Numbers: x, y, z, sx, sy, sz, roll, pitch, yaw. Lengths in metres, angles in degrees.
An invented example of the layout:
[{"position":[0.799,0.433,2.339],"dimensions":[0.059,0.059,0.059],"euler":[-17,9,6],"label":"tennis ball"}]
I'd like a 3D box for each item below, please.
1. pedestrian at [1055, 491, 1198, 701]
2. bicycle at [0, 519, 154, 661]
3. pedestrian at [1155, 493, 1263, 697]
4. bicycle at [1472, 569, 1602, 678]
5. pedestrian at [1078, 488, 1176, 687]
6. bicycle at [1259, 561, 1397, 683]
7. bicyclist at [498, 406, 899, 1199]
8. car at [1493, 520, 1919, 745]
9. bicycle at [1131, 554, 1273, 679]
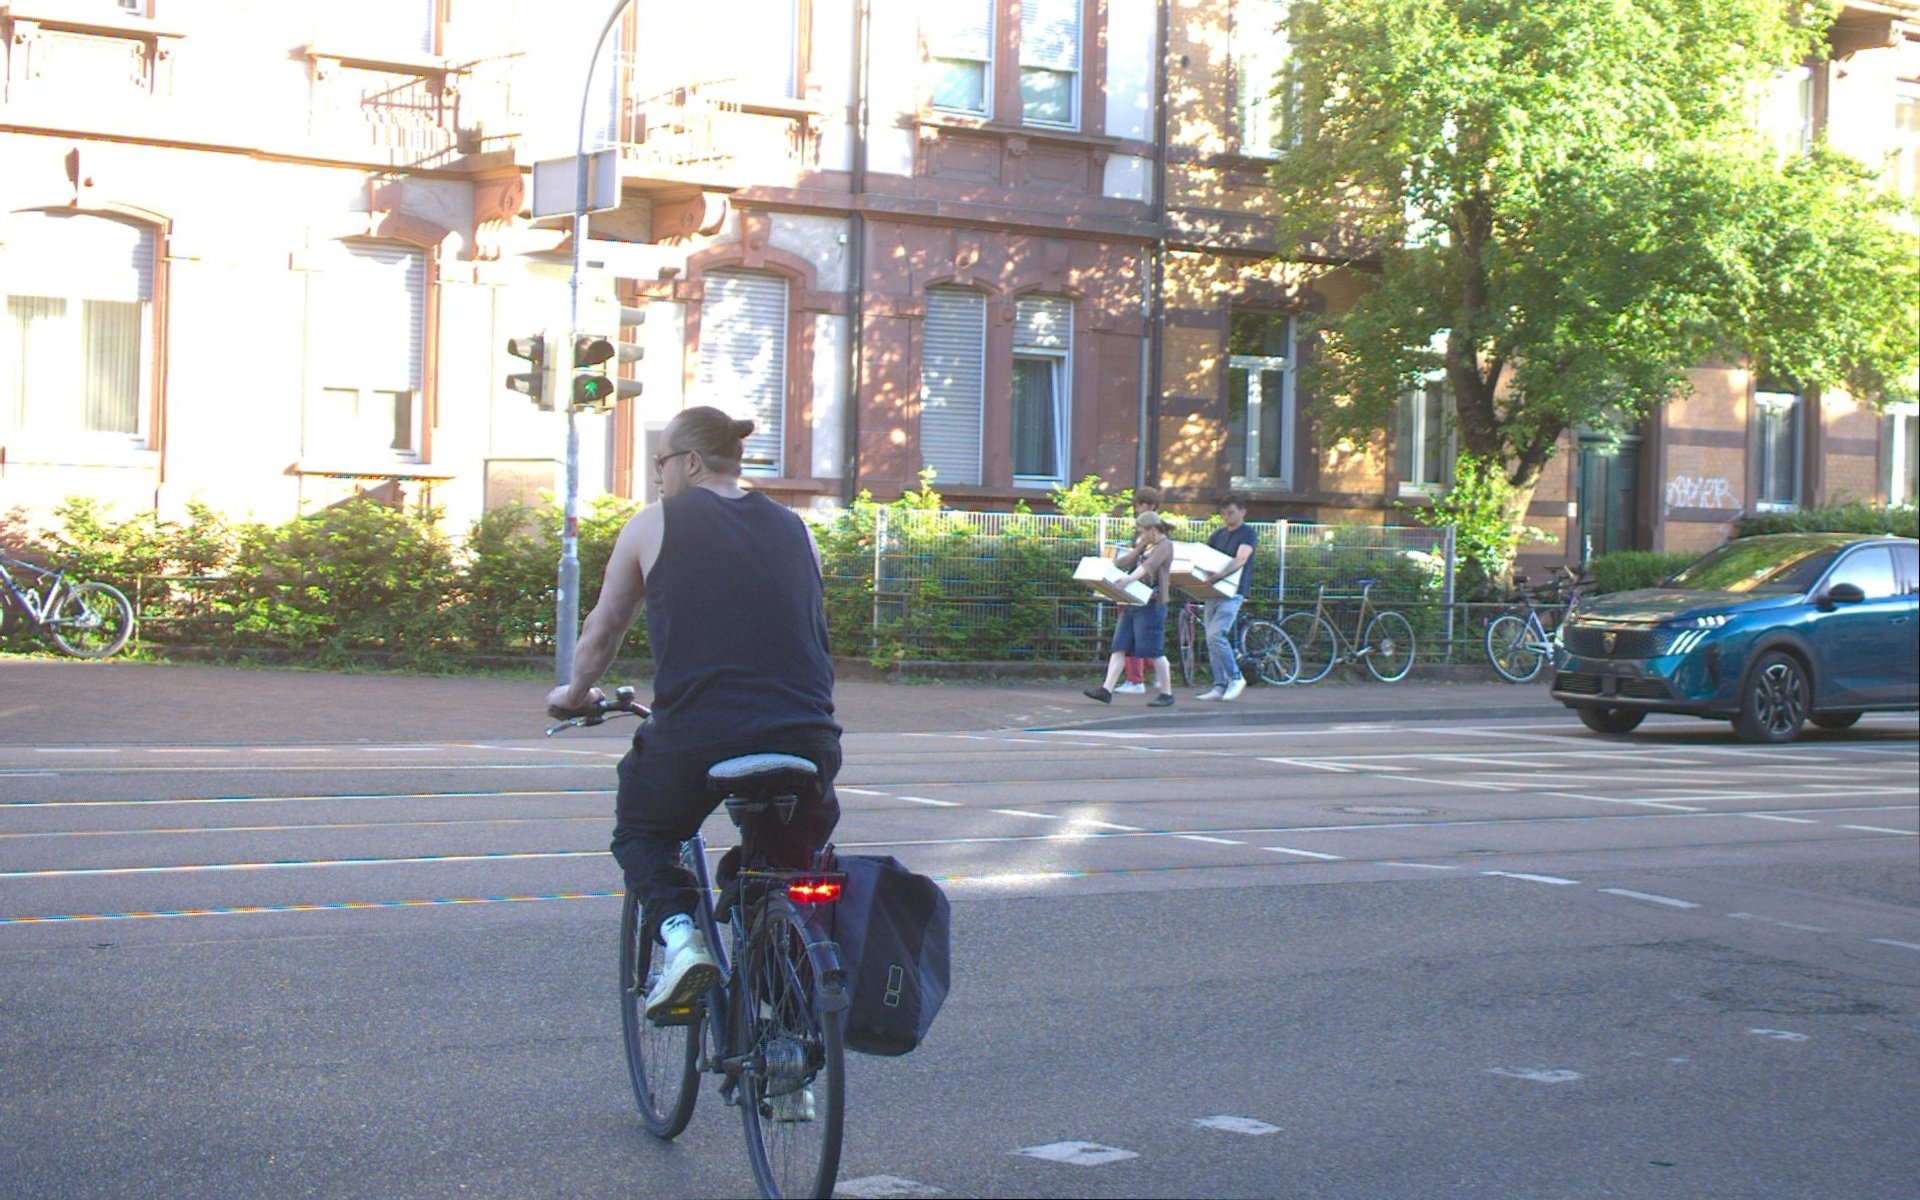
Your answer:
[{"position":[1.368,-0.040,28.320],"dimensions":[0.895,1.659,0.712],"euler":[1,4,-19],"label":"pedestrian"},{"position":[-7.782,-0.106,28.699],"dimensions":[1.960,1.103,0.443],"euler":[3,1,-3],"label":"bicycle"},{"position":[2.119,-0.043,29.337],"dimensions":[0.634,1.709,0.664],"euler":[1,1,-23],"label":"pedestrian"},{"position":[5.640,0.231,33.577],"dimensions":[1.229,1.035,0.443],"euler":[1,2,-32],"label":"bicycle"},{"position":[1.451,-0.110,29.936],"dimensions":[0.634,1.709,0.521],"euler":[1,1,-23],"label":"pedestrian"},{"position":[3.448,0.207,32.182],"dimensions":[1.229,1.103,0.443],"euler":[1,2,-31],"label":"bicycle"},{"position":[-0.607,0.417,7.691],"dimensions":[0.686,1.650,0.990],"euler":[0,1,-17],"label":"bicyclist"},{"position":[6.575,0.248,27.601],"dimensions":[4.396,1.644,1.948],"euler":[1,1,-36],"label":"car"},{"position":[2.215,0.151,31.478],"dimensions":[1.229,1.103,0.443],"euler":[1,2,-31],"label":"bicycle"}]
